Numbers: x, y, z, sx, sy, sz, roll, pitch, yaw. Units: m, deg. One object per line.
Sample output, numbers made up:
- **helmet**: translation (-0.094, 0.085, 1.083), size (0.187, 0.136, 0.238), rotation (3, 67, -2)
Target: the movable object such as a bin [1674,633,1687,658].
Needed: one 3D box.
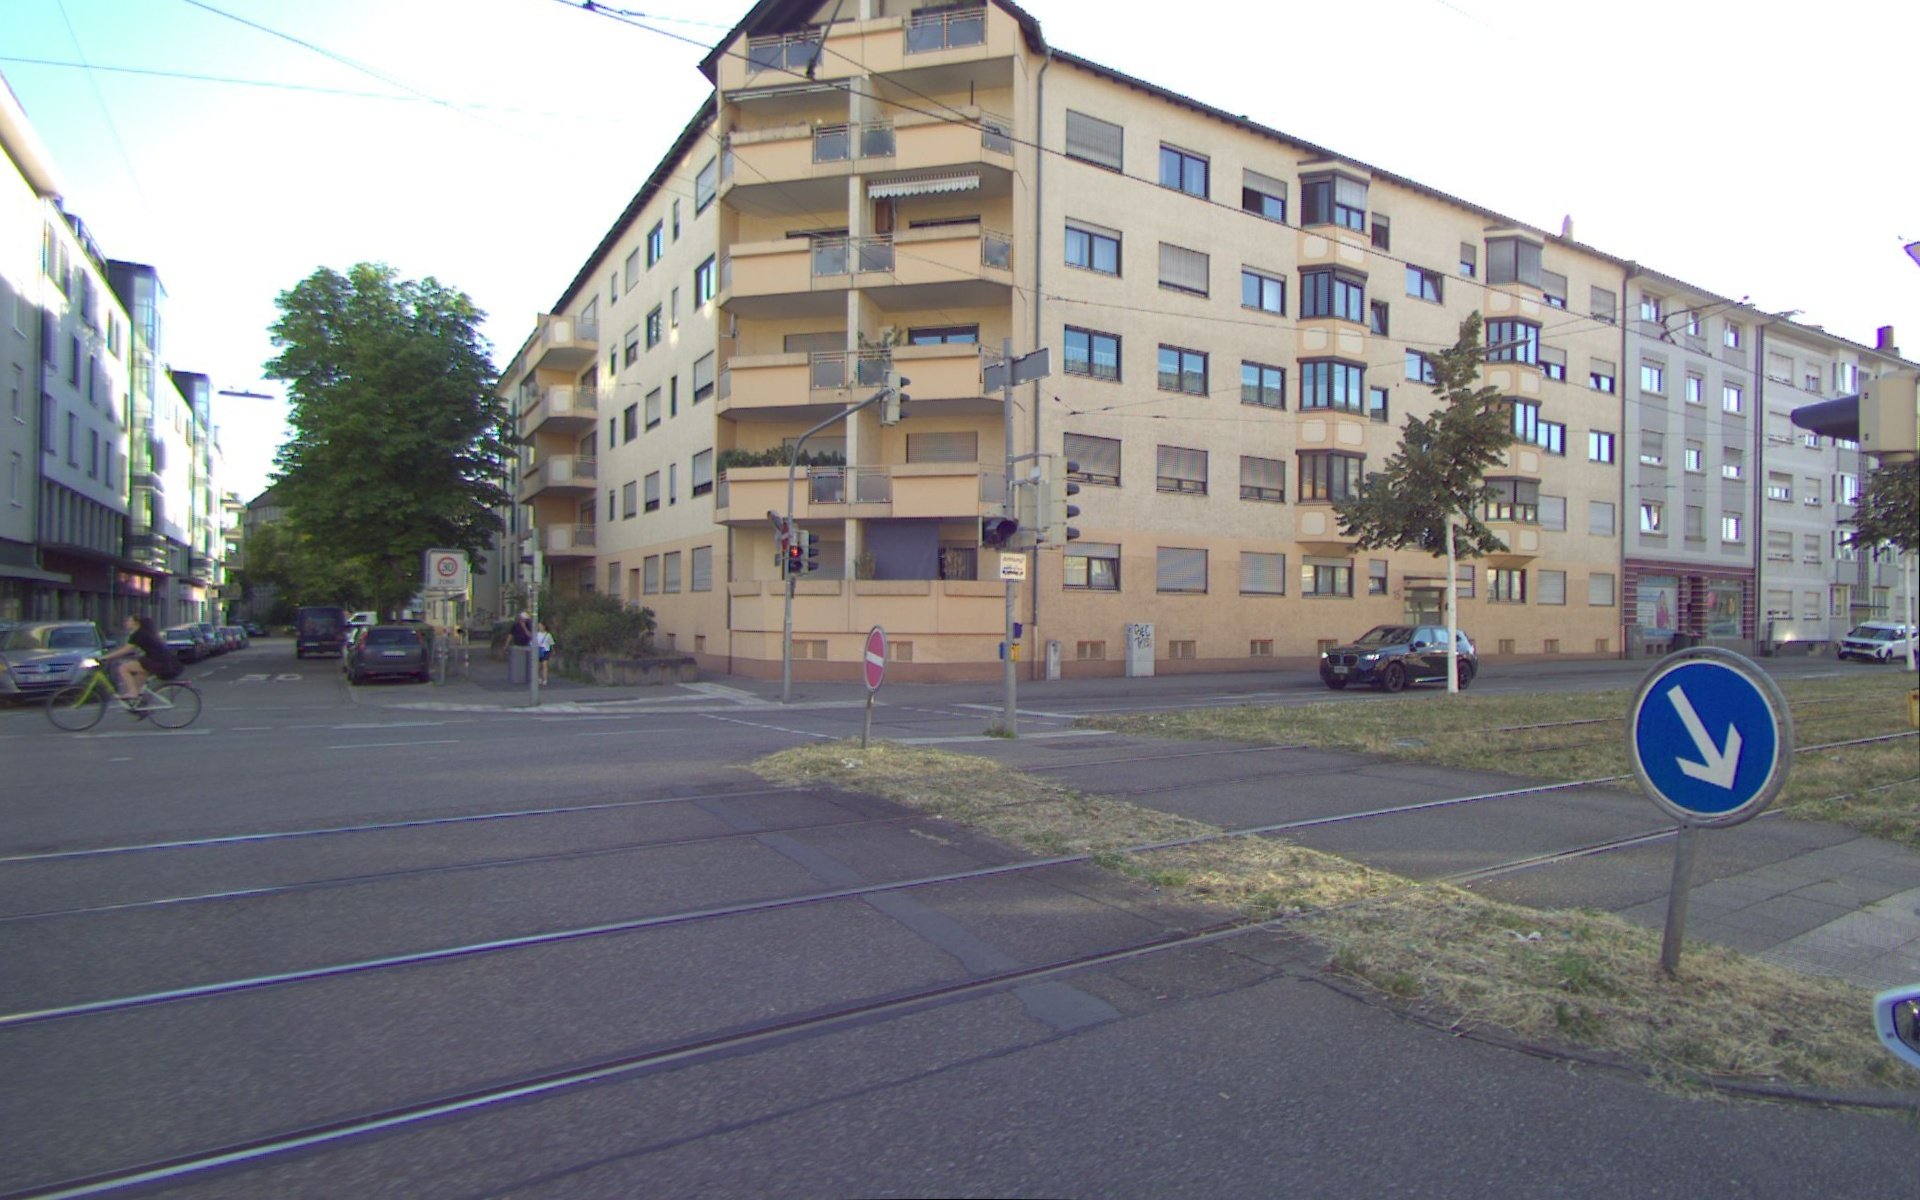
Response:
- **movable object such as a bin**: translation (30.137, 1.905, 42.024), size (0.437, 1.050, 0.296), rotation (2, 0, -33)

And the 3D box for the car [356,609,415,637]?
- **car**: translation (-39.955, 1.627, 69.865), size (3.448, 1.819, 1.688), rotation (2, 0, -31)

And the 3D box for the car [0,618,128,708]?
- **car**: translation (-18.431, 1.207, 20.632), size (1.983, 1.645, 4.150), rotation (1, -1, -39)

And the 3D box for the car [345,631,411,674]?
- **car**: translation (-19.131, 1.693, 32.973), size (1.753, 1.280, 3.280), rotation (2, -1, -32)

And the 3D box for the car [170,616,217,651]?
- **car**: translation (-38.092, 1.633, 49.996), size (1.618, 1.594, 3.504), rotation (2, 0, -34)

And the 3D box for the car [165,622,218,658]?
- **car**: translation (-31.428, 1.612, 41.135), size (1.416, 1.293, 3.325), rotation (2, 0, -33)

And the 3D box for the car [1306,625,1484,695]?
- **car**: translation (11.272, 1.497, 25.915), size (4.693, 1.655, 1.887), rotation (2, -2, -31)

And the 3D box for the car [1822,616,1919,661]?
- **car**: translation (42.602, 1.817, 46.984), size (4.485, 1.950, 1.985), rotation (2, 0, -28)

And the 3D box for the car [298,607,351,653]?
- **car**: translation (-29.727, 1.359, 47.038), size (1.978, 2.040, 3.965), rotation (2, -1, -32)

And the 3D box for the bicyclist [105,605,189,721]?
- **bicyclist**: translation (-11.658, 0.882, 14.431), size (0.798, 1.607, 0.624), rotation (0, 0, -26)

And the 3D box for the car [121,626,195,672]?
- **car**: translation (-26.750, 1.615, 33.584), size (1.487, 1.328, 3.107), rotation (2, 0, -31)

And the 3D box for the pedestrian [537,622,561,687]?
- **pedestrian**: translation (-10.173, 1.338, 24.877), size (0.509, 1.573, 0.547), rotation (-1, 1, -26)

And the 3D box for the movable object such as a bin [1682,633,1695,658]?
- **movable object such as a bin**: translation (30.721, 1.914, 42.367), size (0.437, 1.050, 0.296), rotation (2, 0, -33)

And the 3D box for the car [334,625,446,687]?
- **car**: translation (-15.268, 1.440, 26.807), size (1.983, 1.461, 3.955), rotation (0, -1, -39)

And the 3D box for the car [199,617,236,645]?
- **car**: translation (-45.929, 1.899, 62.170), size (1.618, 1.594, 3.504), rotation (2, 0, -34)

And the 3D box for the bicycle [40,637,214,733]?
- **bicycle**: translation (-11.825, 1.182, 14.321), size (1.846, 1.274, 0.453), rotation (0, 0, -27)

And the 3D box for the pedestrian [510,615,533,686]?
- **pedestrian**: translation (-10.898, 1.253, 24.974), size (0.457, 1.727, 0.588), rotation (2, 0, -26)
